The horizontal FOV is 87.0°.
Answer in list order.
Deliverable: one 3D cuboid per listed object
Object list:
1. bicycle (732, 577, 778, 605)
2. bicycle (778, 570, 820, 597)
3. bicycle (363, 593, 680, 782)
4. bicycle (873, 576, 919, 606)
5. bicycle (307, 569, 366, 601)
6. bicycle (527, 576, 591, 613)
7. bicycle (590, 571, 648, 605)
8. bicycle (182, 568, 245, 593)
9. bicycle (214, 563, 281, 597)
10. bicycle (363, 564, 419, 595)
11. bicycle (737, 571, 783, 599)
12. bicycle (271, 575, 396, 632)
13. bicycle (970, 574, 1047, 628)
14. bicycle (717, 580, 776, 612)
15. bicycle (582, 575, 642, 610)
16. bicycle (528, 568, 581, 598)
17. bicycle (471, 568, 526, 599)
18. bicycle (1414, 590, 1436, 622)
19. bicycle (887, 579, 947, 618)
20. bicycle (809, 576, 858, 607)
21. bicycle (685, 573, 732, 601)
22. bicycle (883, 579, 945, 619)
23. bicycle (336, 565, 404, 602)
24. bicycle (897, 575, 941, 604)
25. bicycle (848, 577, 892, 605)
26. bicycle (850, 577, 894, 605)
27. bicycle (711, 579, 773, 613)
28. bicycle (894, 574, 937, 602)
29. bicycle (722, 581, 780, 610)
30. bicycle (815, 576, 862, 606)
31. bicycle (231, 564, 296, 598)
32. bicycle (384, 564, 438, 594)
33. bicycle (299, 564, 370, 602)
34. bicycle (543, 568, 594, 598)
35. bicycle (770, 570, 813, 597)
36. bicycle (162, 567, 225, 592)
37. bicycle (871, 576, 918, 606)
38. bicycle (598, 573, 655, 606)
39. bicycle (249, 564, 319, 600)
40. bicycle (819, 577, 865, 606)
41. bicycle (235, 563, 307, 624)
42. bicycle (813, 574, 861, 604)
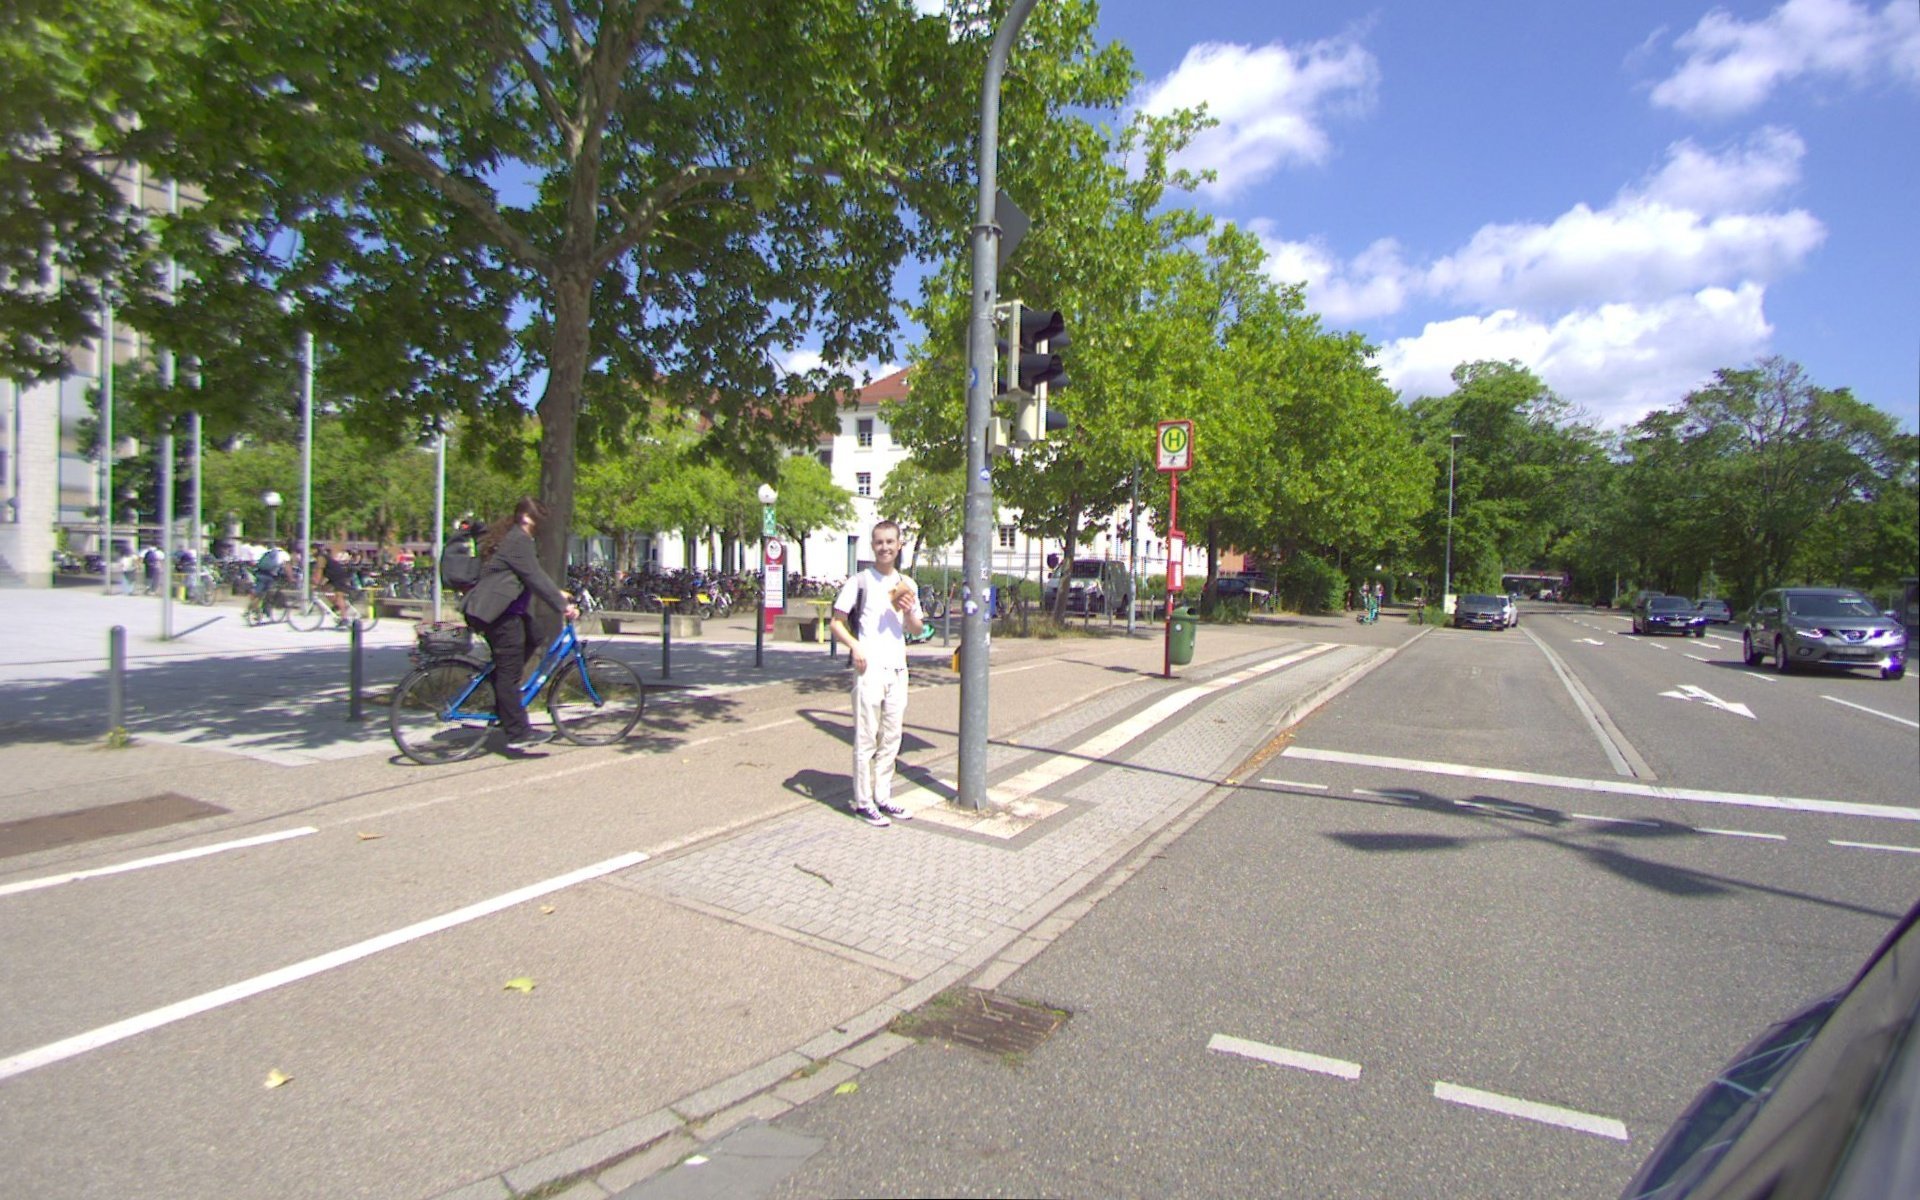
[{"bbox_3d":[-8.147,-0.368,40.257,1.733,1.113,0.604,-1,0,-2],"label":"bicycle"},{"bbox_3d":[-6.852,-0.715,43.086,1.733,1.113,0.604,-1,0,-2],"label":"bicycle"},{"bbox_3d":[-3.039,0.533,7.141,0.816,1.085,1.861,7,5,44],"label":"bicycle"},{"bbox_3d":[-2.463,-0.352,39.017,1.733,1.113,0.604,-1,0,-2],"label":"bicycle"},{"bbox_3d":[-22.458,-0.538,36.443,1.733,1.113,0.604,-1,0,-2],"label":"bicycle"},{"bbox_3d":[-12.502,-0.181,31.589,1.733,1.113,0.604,-1,0,-2],"label":"bicycle"},{"bbox_3d":[-11.353,-0.396,33.729,1.733,1.113,0.604,-1,0,-2],"label":"bicycle"},{"bbox_3d":[-25.011,-0.664,33.945,0.513,0.802,1.759,2,2,15],"label":"bicycle"},{"bbox_3d":[-23.457,-0.652,33.333,1.733,1.113,0.604,-1,0,-2],"label":"bicycle"},{"bbox_3d":[-21.106,-0.755,37.570,1.733,1.113,0.604,-1,0,-2],"label":"bicycle"},{"bbox_3d":[-8.141,-0.598,41.212,1.733,1.113,0.604,-1,0,-2],"label":"bicycle"},{"bbox_3d":[-13.165,0.052,21.347,2.109,1.092,0.906,-2,2,-23],"label":"bicycle"},{"bbox_3d":[1.150,0.000,23.563,0.796,1.198,2.003,0,1,39],"label":"bicycle"},{"bbox_3d":[-6.650,-0.130,31.566,1.733,0.966,0.604,1,0,-2],"label":"bicycle"},{"bbox_3d":[-11.350,-0.239,33.021,1.733,1.113,0.604,-1,0,-2],"label":"bicycle"},{"bbox_3d":[-15.175,-0.641,37.889,1.733,1.113,0.604,-1,0,-2],"label":"bicycle"},{"bbox_3d":[-16.871,-0.595,37.044,1.733,1.113,0.604,-1,0,-2],"label":"bicycle"},{"bbox_3d":[18.749,0.242,40.796,0.634,1.205,2.098,3,1,27],"label":"bicycle"},{"bbox_3d":[-1.245,-0.048,29.509,1.733,1.113,0.604,-1,0,-2],"label":"bicycle"},{"bbox_3d":[-4.648,-0.309,37.274,1.733,1.113,0.604,-1,0,-2],"label":"bicycle"},{"bbox_3d":[-9.985,-0.523,40.232,1.733,1.113,0.604,-1,0,-2],"label":"bicycle"},{"bbox_3d":[-1.312,-0.030,28.808,1.733,1.113,0.604,-1,0,-2],"label":"bicycle"},{"bbox_3d":[-18.205,-0.503,31.242,1.733,1.113,0.604,-1,0,-2],"label":"bicycle"},{"bbox_3d":[-1.623,-0.407,40.149,1.733,1.113,0.604,-1,0,-2],"label":"bicycle"},{"bbox_3d":[-3.572,-0.359,40.226,1.733,1.113,0.516,-1,0,-2],"label":"bicycle"},{"bbox_3d":[-3.559,-0.368,40.845,1.733,1.113,0.593,-1,0,-2],"label":"bicycle"},{"bbox_3d":[-6.616,-0.119,30.760,1.733,0.966,0.604,1,0,-2],"label":"bicycle"},{"bbox_3d":[-1.808,-0.481,41.443,1.733,1.113,0.604,-1,0,-2],"label":"bicycle"},{"bbox_3d":[-6.684,-0.135,32.374,1.733,0.879,0.484,1,0,-2],"label":"bicycle"},{"bbox_3d":[-4.667,-0.345,38.851,1.733,1.113,0.604,-1,0,-2],"label":"bicycle"},{"bbox_3d":[-23.431,-0.628,34.057,1.733,1.113,0.604,-1,0,-2],"label":"bicycle"},{"bbox_3d":[-21.058,-0.798,38.831,1.733,1.113,0.604,-1,0,-2],"label":"bicycle"},{"bbox_3d":[-18.697,-0.495,30.278,1.733,1.113,0.604,-1,0,-2],"label":"bicycle"},{"bbox_3d":[-14.977,-0.654,38.762,1.733,1.113,0.604,-1,0,-2],"label":"bicycle"},{"bbox_3d":[-7.055,-0.692,42.397,1.733,1.113,0.604,-1,0,-2],"label":"bicycle"},{"bbox_3d":[-26.032,-0.699,34.407,0.513,0.802,1.759,2,2,15],"label":"bicycle"},{"bbox_3d":[-2.460,-0.338,37.966,1.733,1.113,0.604,-1,0,-2],"label":"bicycle"},{"bbox_3d":[-11.316,-0.365,34.385,1.733,1.113,0.604,-1,0,-2],"label":"bicycle"},{"bbox_3d":[-20.952,-0.556,31.378,1.733,1.113,0.604,-1,0,-2],"label":"bicycle"},{"bbox_3d":[-4.612,-0.341,39.561,1.733,1.113,0.604,-1,0,-2],"label":"bicycle"},{"bbox_3d":[-15.359,-0.156,22.601,0.649,1.313,1.878,-1,1,-12],"label":"bicycle"},{"bbox_3d":[-4.630,-0.412,38.130,1.733,1.113,0.604,-1,0,-2],"label":"bicycle"}]
